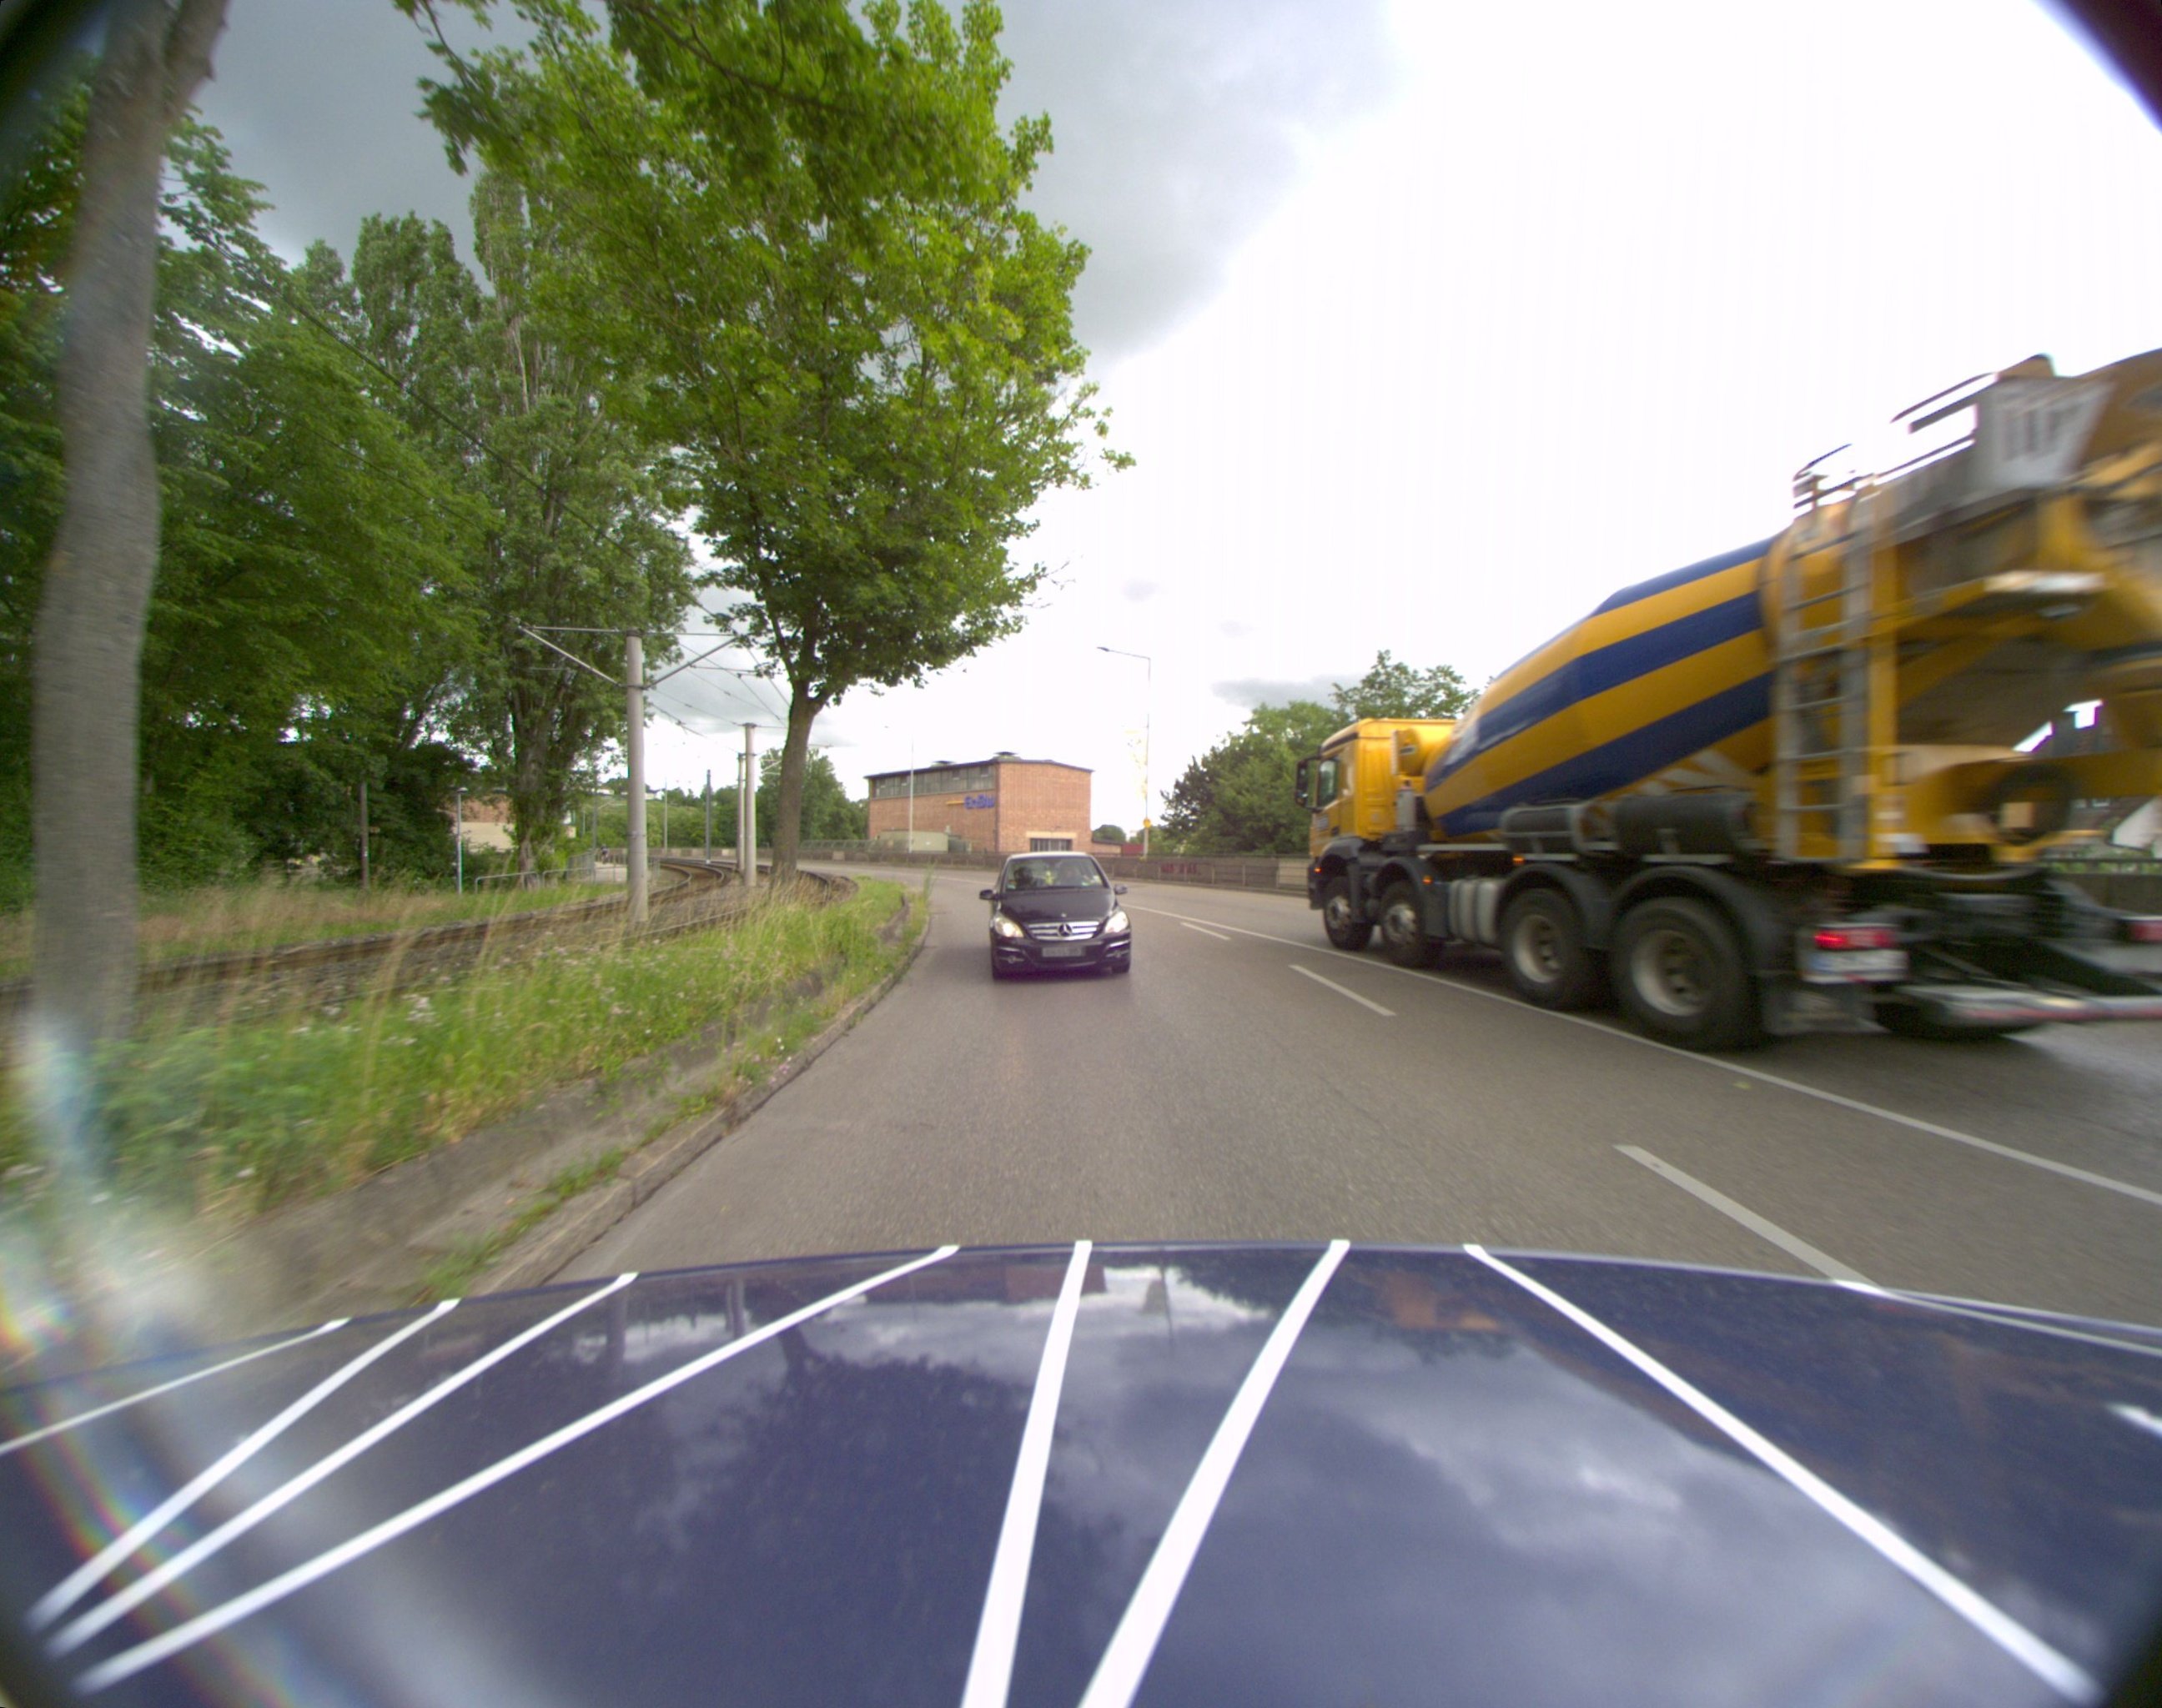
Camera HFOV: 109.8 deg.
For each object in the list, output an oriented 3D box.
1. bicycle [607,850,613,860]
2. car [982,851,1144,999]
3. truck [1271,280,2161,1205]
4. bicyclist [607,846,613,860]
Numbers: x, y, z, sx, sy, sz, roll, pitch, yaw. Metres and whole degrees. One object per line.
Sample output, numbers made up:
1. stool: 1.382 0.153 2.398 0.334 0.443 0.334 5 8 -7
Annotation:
1. bicycle: -36.743 0.061 59.278 0.348 0.790 1.544 -1 1 -30
2. car: -0.388 0.809 10.742 1.861 1.612 3.997 0 1 -6
3. truck: 5.061 -0.505 8.367 2.662 3.916 10.106 -1 0 -4
4. bicyclist: -36.735 -0.063 59.258 0.418 1.077 0.473 -1 1 -30
